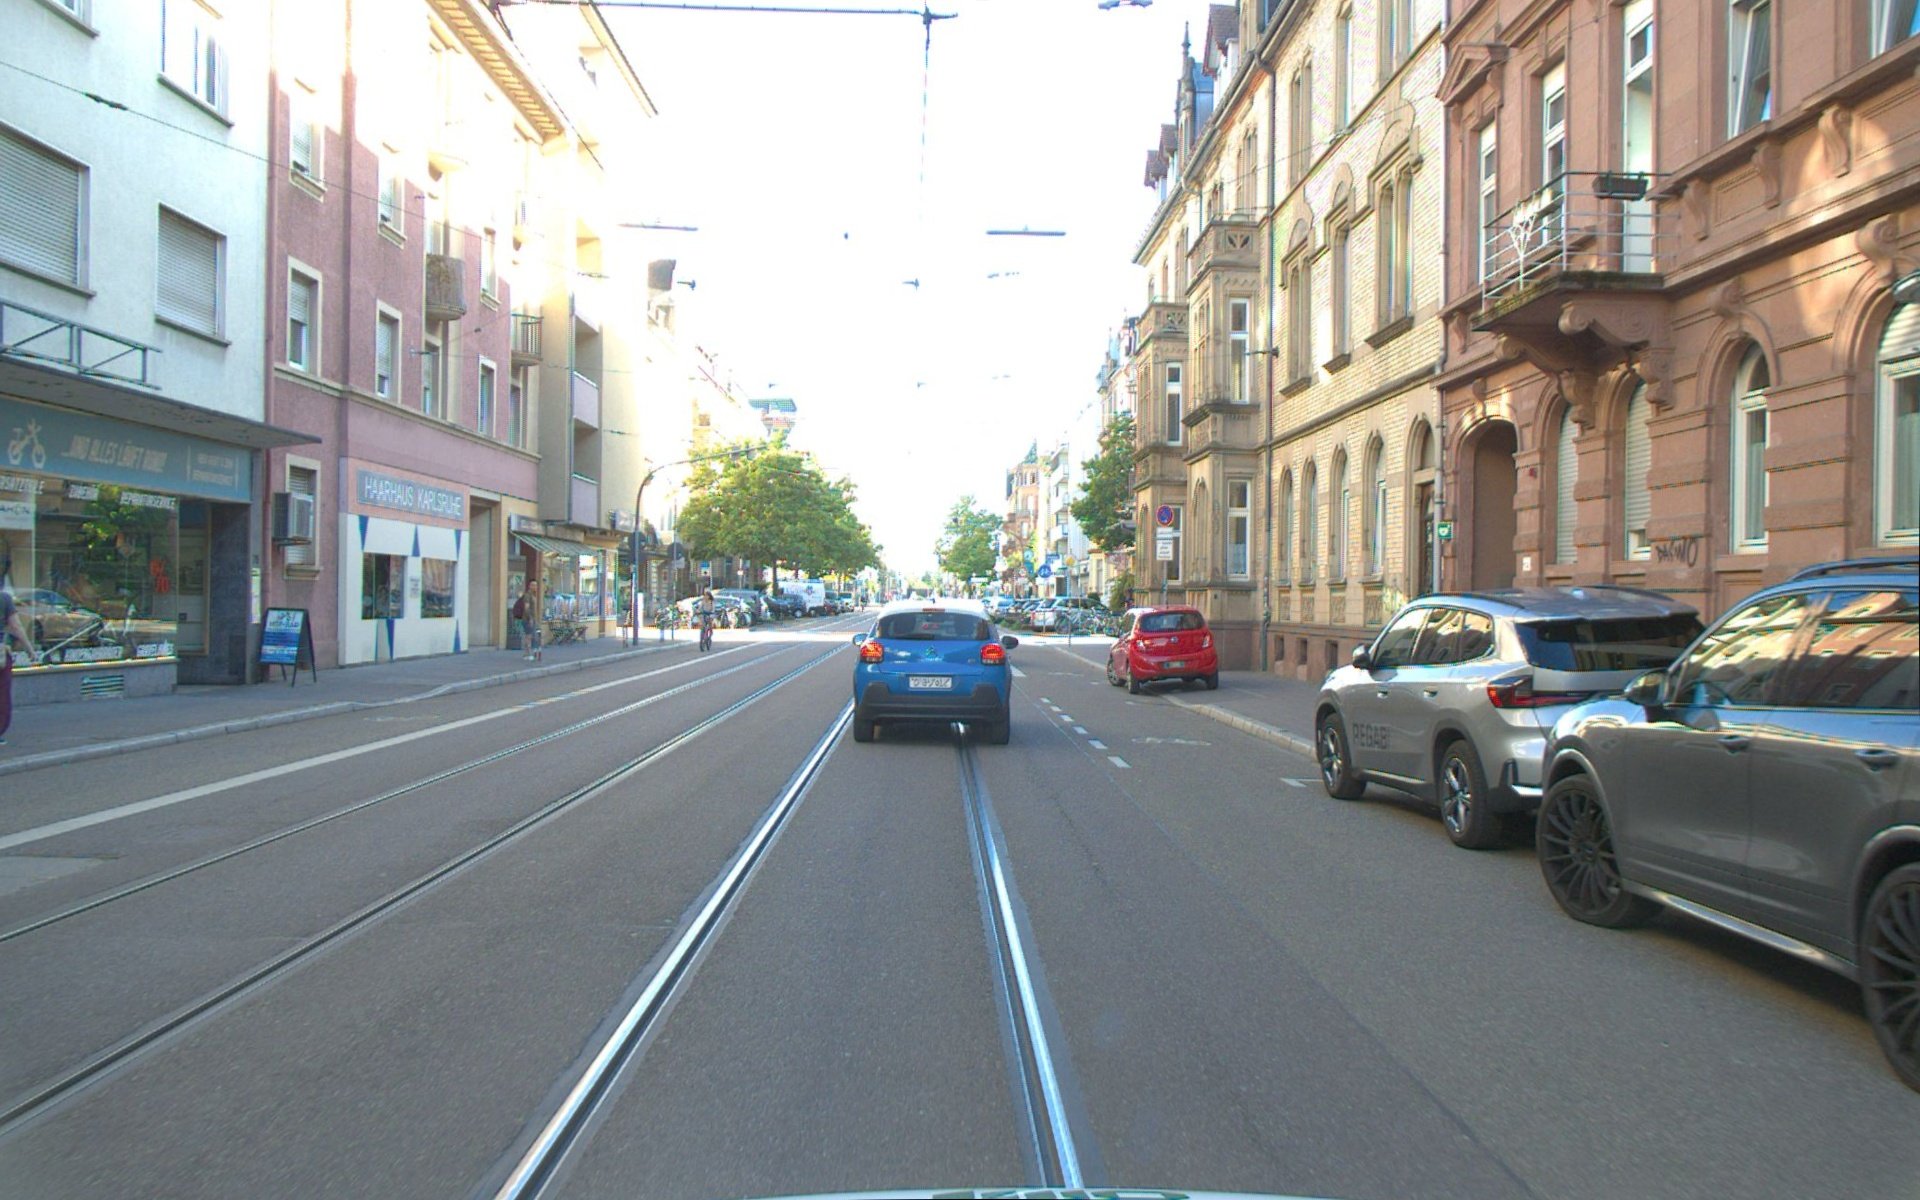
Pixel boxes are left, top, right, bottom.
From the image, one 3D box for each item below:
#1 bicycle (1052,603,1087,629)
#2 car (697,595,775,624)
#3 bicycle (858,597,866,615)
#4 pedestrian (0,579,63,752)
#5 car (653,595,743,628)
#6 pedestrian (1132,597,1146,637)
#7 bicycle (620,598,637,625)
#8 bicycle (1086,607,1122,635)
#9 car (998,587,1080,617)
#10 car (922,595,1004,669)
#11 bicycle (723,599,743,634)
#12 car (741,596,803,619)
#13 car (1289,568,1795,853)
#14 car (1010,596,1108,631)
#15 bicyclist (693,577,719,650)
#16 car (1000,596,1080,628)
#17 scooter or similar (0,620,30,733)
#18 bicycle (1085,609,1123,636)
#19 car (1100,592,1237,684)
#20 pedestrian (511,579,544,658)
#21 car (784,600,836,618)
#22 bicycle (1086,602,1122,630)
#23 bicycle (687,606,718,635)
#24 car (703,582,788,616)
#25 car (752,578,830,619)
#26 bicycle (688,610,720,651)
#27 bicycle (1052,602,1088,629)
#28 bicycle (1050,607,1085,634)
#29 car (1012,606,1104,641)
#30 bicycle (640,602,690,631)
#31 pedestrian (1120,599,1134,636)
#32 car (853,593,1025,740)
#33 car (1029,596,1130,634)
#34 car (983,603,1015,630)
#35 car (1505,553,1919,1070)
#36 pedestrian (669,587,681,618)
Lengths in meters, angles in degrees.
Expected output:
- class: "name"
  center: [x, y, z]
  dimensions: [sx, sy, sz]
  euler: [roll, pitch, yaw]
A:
- class: "bicycle"
  center: [4.795, 0.712, 72.312]
  dimensions: [1.523, 1.098, 0.307]
  euler: [1, -1, 5]
- class: "car"
  center: [-11.934, 0.491, 88.245]
  dimensions: [3.786, 1.455, 1.751]
  euler: [2, -1, -27]
- class: "bicycle"
  center: [-9.747, 0.579, 164.255]
  dimensions: [0.666, 1.708, 2.096]
  euler: [1, -1, -1]
- class: "pedestrian"
  center: [-8.873, 0.593, 15.427]
  dimensions: [0.623, 1.576, 0.623]
  euler: [1, -1, -2]
- class: "car"
  center: [-12.175, 0.548, 76.814]
  dimensions: [3.746, 1.424, 1.734]
  euler: [2, -1, -34]
- class: "pedestrian"
  center: [8.157, 0.764, 75.463]
  dimensions: [0.507, 1.809, 0.863]
  euler: [1, -1, -1]
- class: "bicycle"
  center: [-14.199, 0.503, 70.867]
  dimensions: [0.397, 1.129, 1.825]
  euler: [1, -1, -22]
- class: "bicycle"
  center: [6.169, 0.892, 70.816]
  dimensions: [1.523, 1.147, 0.528]
  euler: [1, -1, 5]
- class: "car"
  center: [4.511, 0.107, 94.315]
  dimensions: [4.249, 1.624, 1.966]
  euler: [2, -1, -26]
- class: "car"
  center: [0.047, 0.738, 39.508]
  dimensions: [1.835, 1.624, 3.999]
  euler: [1, 0, -1]
- class: "bicycle"
  center: [-9.741, 0.695, 71.036]
  dimensions: [0.668, 1.342, 2.433]
  euler: [1, 2, -5]
- class: "car"
  center: [-12.849, 0.504, 112.860]
  dimensions: [3.924, 1.515, 1.797]
  euler: [1, -1, -18]
- class: "car"
  center: [3.940, 0.680, 12.100]
  dimensions: [1.829, 1.675, 4.396]
  euler: [1, 0, -5]
- class: "car"
  center: [4.894, 0.662, 81.742]
  dimensions: [4.379, 1.624, 2.071]
  euler: [2, -1, -26]
- class: "bicyclist"
  center: [-7.267, 0.382, 47.365]
  dimensions: [0.599, 2.049, 0.733]
  euler: [1, -1, -1]
- class: "car"
  center: [4.464, 0.668, 91.866]
  dimensions: [3.937, 1.624, 2.070]
  euler: [2, -1, -26]
- class: "scooter or similar"
  center: [-9.592, 0.741, 15.909]
  dimensions: [0.648, 1.080, 1.105]
  euler: [1, 0, -1]
- class: "bicycle"
  center: [6.223, 0.969, 71.471]
  dimensions: [1.639, 1.147, 0.552]
  euler: [1, -1, 5]
- class: "car"
  center: [3.774, 0.671, 30.615]
  dimensions: [1.828, 1.508, 4.400]
  euler: [-2, 0, -1]
- class: "pedestrian"
  center: [-9.505, 0.407, 36.345]
  dimensions: [0.552, 1.715, 0.616]
  euler: [1, -1, -2]
- class: "car"
  center: [-11.771, 0.705, 129.654]
  dimensions: [3.751, 1.287, 1.503]
  euler: [2, -1, -27]
- class: "bicycle"
  center: [6.124, 0.683, 70.254]
  dimensions: [1.523, 1.147, 0.552]
  euler: [1, -1, 5]
- class: "bicycle"
  center: [-11.073, 0.859, 71.057]
  dimensions: [0.675, 1.143, 1.867]
  euler: [0, 2, -31]
- class: "car"
  center: [-12.064, -0.039, 93.097]
  dimensions: [4.313, 1.814, 1.973]
  euler: [2, -1, -34]
- class: "car"
  center: [-12.115, -0.122, 118.983]
  dimensions: [5.316, 2.797, 1.787]
  euler: [2, -1, -31]
- class: "bicycle"
  center: [-7.269, 0.851, 47.078]
  dimensions: [0.590, 1.115, 2.044]
  euler: [-1, 0, -1]
- class: "bicycle"
  center: [4.826, 0.667, 72.654]
  dimensions: [1.527, 1.147, 0.295]
  euler: [1, -1, 5]
- class: "bicycle"
  center: [4.583, 0.878, 70.535]
  dimensions: [1.370, 1.147, 0.551]
  euler: [1, -1, -5]
- class: "car"
  center: [4.666, 1.097, 78.593]
  dimensions: [3.937, 1.563, 1.903]
  euler: [2, -1, -26]
- class: "bicycle"
  center: [-12.560, 0.700, 70.379]
  dimensions: [2.390, 1.128, 0.680]
  euler: [3, 2, 40]
- class: "pedestrian"
  center: [7.625, 0.802, 75.511]
  dimensions: [0.507, 1.677, 0.863]
  euler: [1, -1, -1]
- class: "car"
  center: [-0.249, 0.690, 18.672]
  dimensions: [1.727, 1.466, 3.556]
  euler: [1, 0, -1]
- class: "car"
  center: [5.510, 0.675, 76.007]
  dimensions: [4.297, 1.624, 1.838]
  euler: [2, -1, -26]
- class: "car"
  center: [2.503, 1.067, 106.705]
  dimensions: [1.835, 1.624, 4.718]
  euler: [1, 0, -1]
- class: "car"
  center: [3.973, 0.640, 6.472]
  dimensions: [1.953, 1.644, 4.784]
  euler: [-2, 0, -1]
- class: "pedestrian"
  center: [-15.899, 0.135, 92.315]
  dimensions: [0.557, 1.681, 0.641]
  euler: [1, -1, -1]
